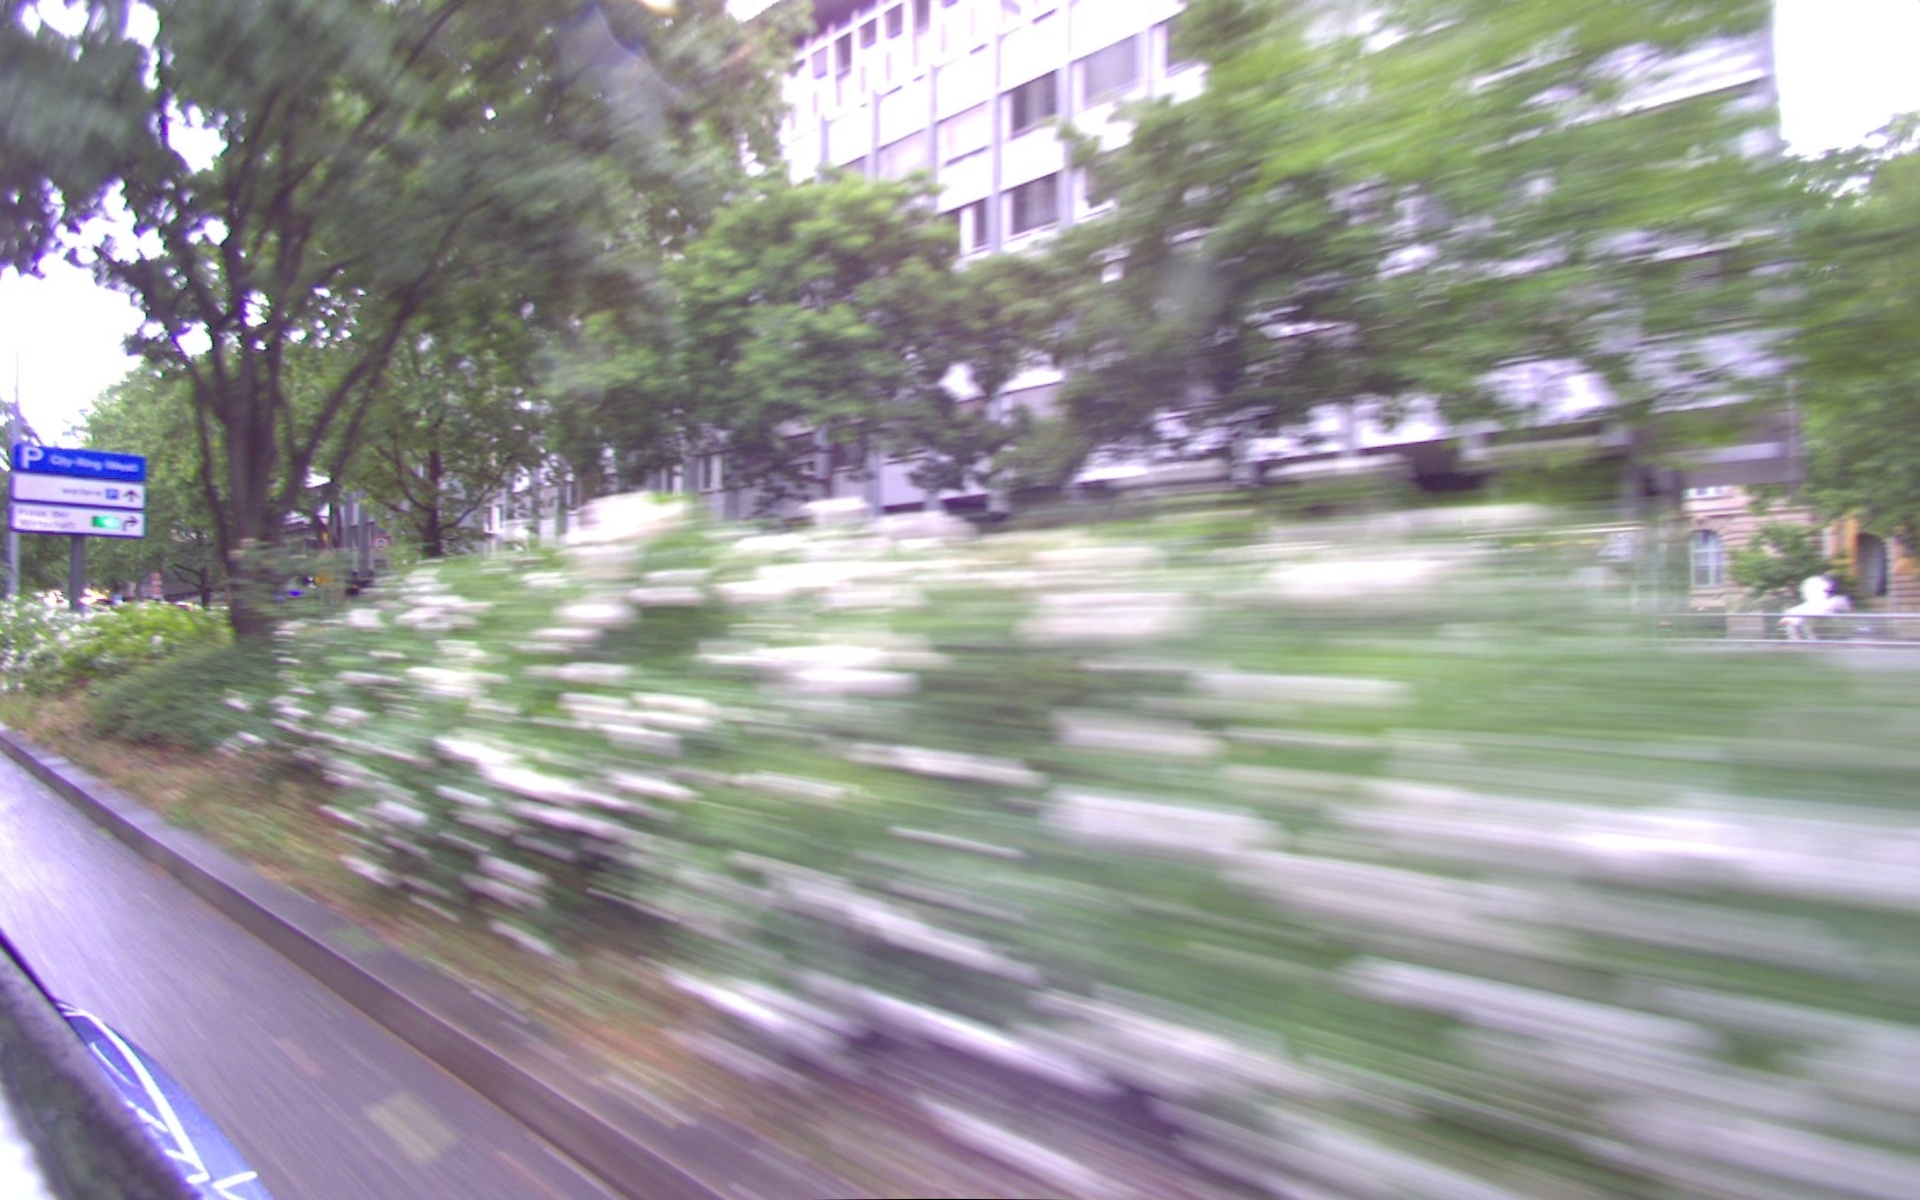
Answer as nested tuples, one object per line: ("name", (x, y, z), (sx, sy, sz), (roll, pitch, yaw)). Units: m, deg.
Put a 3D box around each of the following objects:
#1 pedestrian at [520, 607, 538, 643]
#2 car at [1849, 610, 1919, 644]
("pedestrian", (-20.815, 1.219, 48.887), (0.685, 1.721, 0.558), (-1, -1, 41))
("car", (45.592, 1.318, 49.817), (3.915, 1.564, 1.749), (0, -1, -33))
